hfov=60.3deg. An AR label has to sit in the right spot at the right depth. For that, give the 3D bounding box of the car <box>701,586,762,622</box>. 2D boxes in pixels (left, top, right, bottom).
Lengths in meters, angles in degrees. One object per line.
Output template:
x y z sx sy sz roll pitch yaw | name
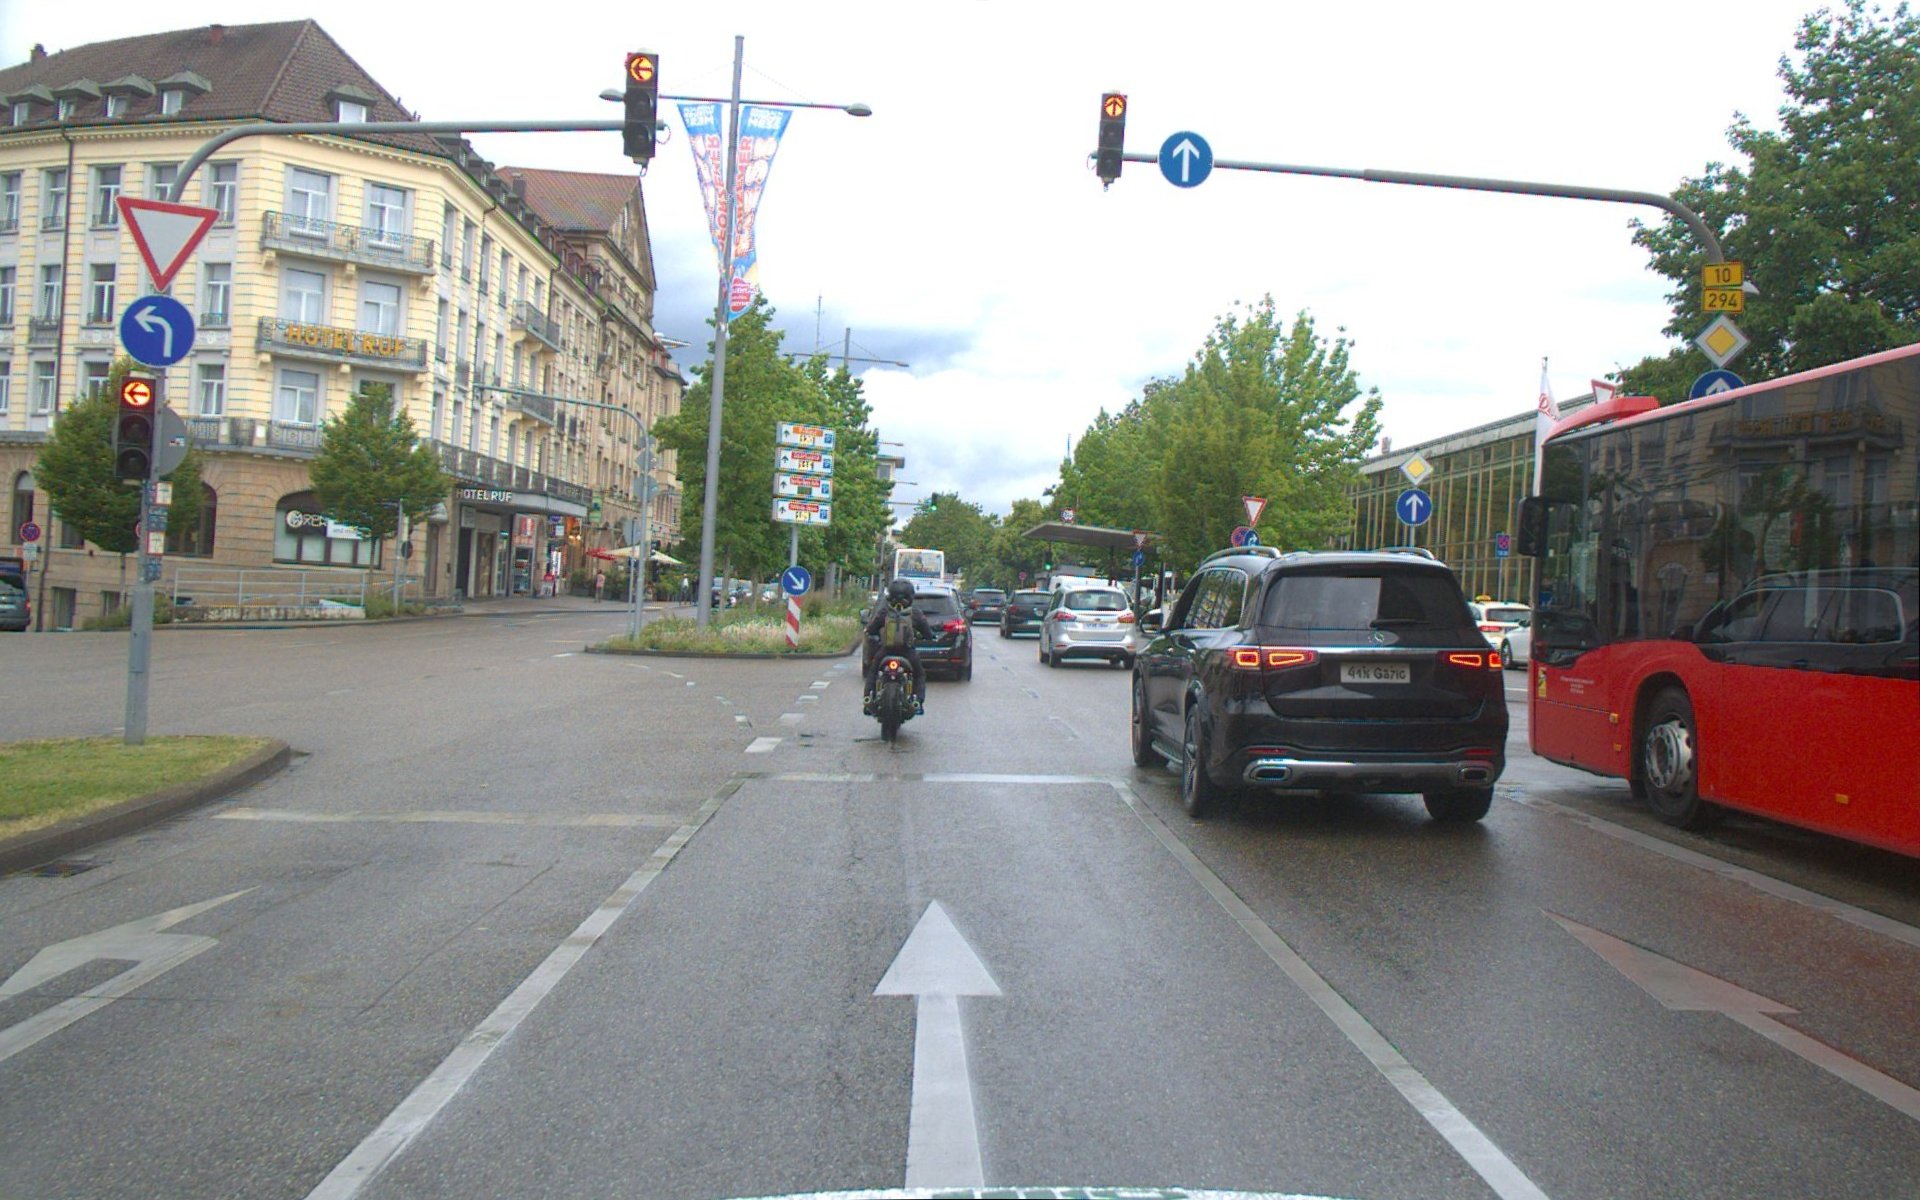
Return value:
-11.921 0.188 86.436 1.736 1.555 4.082 -11 -1 10 | car

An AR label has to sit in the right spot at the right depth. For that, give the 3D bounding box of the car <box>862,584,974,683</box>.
-0.668 0.493 27.083 1.673 1.473 3.999 1 0 -1 | car

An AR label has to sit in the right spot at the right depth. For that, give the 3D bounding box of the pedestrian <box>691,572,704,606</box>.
-16.116 -0.675 101.475 0.742 2.049 0.832 1 0 -8 | pedestrian

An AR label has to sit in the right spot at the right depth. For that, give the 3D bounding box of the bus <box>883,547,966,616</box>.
-2.098 -0.956 88.056 3.686 3.265 15.514 1 0 -4 | bus

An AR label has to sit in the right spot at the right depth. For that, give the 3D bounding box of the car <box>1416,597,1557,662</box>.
12.922 0.682 40.885 1.810 1.477 4.664 1 0 -2 | car

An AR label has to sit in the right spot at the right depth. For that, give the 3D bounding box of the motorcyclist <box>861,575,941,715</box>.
-0.588 0.440 16.647 0.749 1.354 0.866 2 0 -1 | motorcyclist

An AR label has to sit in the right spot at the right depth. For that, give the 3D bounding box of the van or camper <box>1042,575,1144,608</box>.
9.035 -0.551 112.230 6.675 2.049 2.364 1 0 -28 | van or camper

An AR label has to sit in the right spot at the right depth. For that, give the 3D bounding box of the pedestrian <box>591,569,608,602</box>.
-17.325 -0.700 79.493 0.657 1.537 0.512 1 0 -39 | pedestrian

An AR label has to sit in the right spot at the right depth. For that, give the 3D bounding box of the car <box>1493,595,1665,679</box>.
13.067 0.734 35.231 1.739 1.617 4.614 1 0 -3 | car

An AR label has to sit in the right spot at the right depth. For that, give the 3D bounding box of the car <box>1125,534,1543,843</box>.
2.502 0.517 12.351 1.953 1.837 4.689 1 1 -1 | car

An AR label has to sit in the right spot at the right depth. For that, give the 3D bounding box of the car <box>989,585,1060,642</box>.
1.911 0.382 49.812 1.774 1.609 3.901 2 0 -3 | car

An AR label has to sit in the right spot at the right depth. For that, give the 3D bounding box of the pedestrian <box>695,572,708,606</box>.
-15.707 -0.673 100.591 0.742 2.049 0.832 1 0 -8 | pedestrian

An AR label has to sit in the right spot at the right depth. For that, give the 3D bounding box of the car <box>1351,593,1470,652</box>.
12.762 0.600 47.170 1.875 1.551 4.739 1 0 -3 | car

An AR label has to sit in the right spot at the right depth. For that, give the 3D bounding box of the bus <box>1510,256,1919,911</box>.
6.066 -0.068 8.779 2.687 3.229 10.192 1 0 -1 | bus

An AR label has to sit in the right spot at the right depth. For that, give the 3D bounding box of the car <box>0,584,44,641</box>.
-28.697 0.335 48.546 3.923 1.596 1.793 2 0 38 | car

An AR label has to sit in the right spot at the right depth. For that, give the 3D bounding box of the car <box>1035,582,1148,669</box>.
2.544 0.467 32.805 1.813 1.594 3.999 1 0 -1 | car

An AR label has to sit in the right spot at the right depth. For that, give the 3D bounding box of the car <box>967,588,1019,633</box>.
1.275 0.405 65.897 1.774 1.671 3.901 2 0 -3 | car

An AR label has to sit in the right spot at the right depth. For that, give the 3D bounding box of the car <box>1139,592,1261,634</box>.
8.715 0.458 60.355 1.764 1.409 4.302 1 0 -41 | car

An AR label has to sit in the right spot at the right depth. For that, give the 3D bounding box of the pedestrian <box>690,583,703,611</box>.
-16.156 -0.180 101.255 0.661 1.731 0.633 1 0 -2 | pedestrian

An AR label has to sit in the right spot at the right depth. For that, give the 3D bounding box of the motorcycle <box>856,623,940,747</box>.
-0.594 0.810 16.514 0.750 1.095 2.175 2 0 -1 | motorcycle
